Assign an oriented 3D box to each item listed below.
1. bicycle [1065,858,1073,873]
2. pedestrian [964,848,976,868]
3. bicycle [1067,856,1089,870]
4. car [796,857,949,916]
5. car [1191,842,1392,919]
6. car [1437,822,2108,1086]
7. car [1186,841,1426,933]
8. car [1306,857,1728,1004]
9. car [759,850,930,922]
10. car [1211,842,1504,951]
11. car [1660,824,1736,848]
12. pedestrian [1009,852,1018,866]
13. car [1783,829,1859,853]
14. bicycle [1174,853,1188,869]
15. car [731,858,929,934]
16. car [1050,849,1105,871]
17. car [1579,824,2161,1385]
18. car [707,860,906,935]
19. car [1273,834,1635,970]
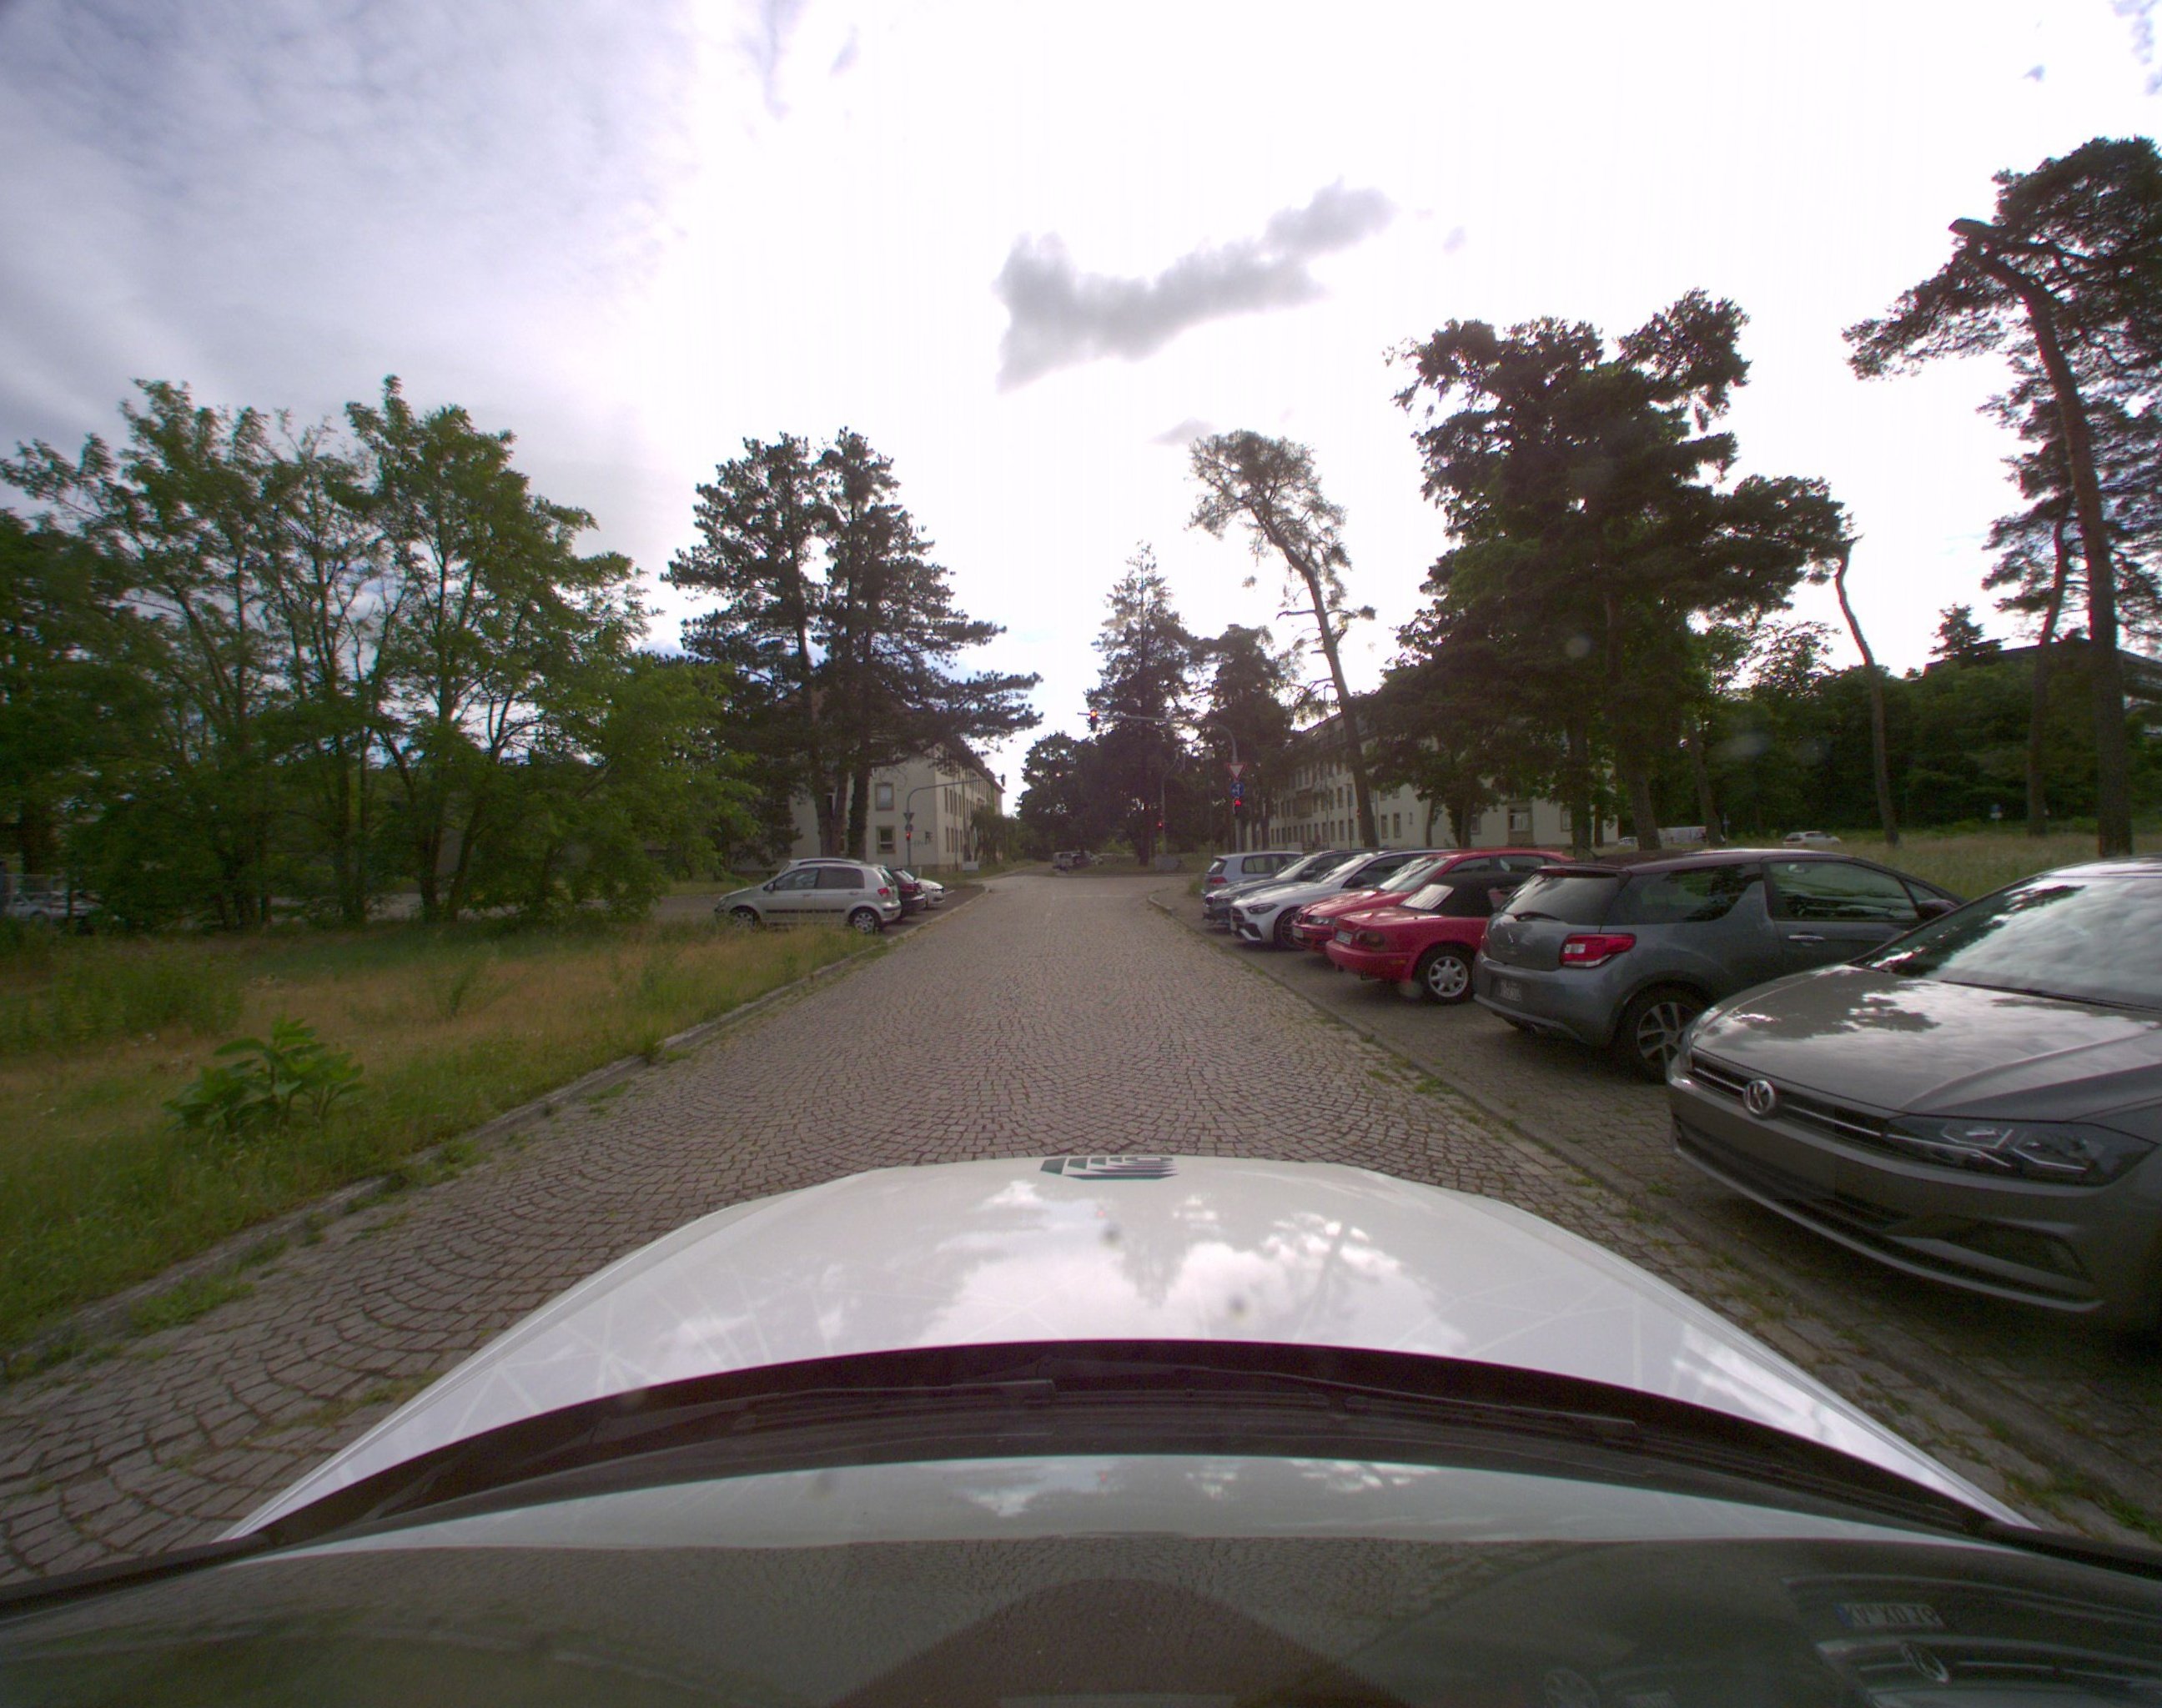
[{"bbox_3d":[-0.986,0.932,65.976,0.661,1.171,1.887,0,0,-1],"label":"bicycle"},{"bbox_3d":[-11.321,0.428,82.809,1.071,1.959,1.121,0,-1,-1],"label":"pedestrian"},{"bbox_3d":[-0.273,0.816,74.128,1.879,1.171,0.663,0,-1,-7],"label":"bicycle"},{"bbox_3d":[-6.359,0.964,25.262,4.294,1.554,1.807,-3,0,-7],"label":"car"},{"bbox_3d":[4.756,0.576,18.672,4.131,1.463,1.630,-3,0,-7],"label":"car"},{"bbox_3d":[4.783,0.618,6.024,3.496,1.487,1.742,-3,0,-2],"label":"car"},{"bbox_3d":[4.396,0.604,16.108,4.232,1.479,1.702,-3,0,-12],"label":"car"},{"bbox_3d":[4.419,0.740,8.638,3.575,1.223,1.628,-3,0,0],"label":"car"},{"bbox_3d":[-6.510,0.849,22.804,4.293,1.732,1.649,-3,0,-7],"label":"car"},{"bbox_3d":[4.425,0.629,13.342,4.184,1.437,1.750,-3,0,-9],"label":"car"},{"bbox_3d":[55.479,-1.613,73.272,5.284,2.019,2.105,0,0,-1],"label":"car"},{"bbox_3d":[-9.470,0.739,114.768,1.238,1.959,1.119,0,-1,-6],"label":"pedestrian"},{"bbox_3d":[56.839,-0.976,62.577,4.119,1.804,1.900,0,0,0],"label":"car"},{"bbox_3d":[6.818,0.479,55.578,0.661,1.051,1.887,0,0,-1],"label":"bicycle"},{"bbox_3d":[-6.024,0.972,20.013,4.294,1.554,1.807,-3,0,-7],"label":"car"},{"bbox_3d":[-0.397,0.635,85.432,5.383,2.101,2.168,-2,0,-14],"label":"car"},{"bbox_3d":[4.529,0.620,3.149,4.118,1.447,1.765,-3,0,-1],"label":"car"},{"bbox_3d":[-5.754,0.893,17.425,3.713,1.481,1.671,0,0,-4],"label":"car"},{"bbox_3d":[4.874,0.587,10.994,4.096,1.476,1.683,-3,0,-3],"label":"car"}]
